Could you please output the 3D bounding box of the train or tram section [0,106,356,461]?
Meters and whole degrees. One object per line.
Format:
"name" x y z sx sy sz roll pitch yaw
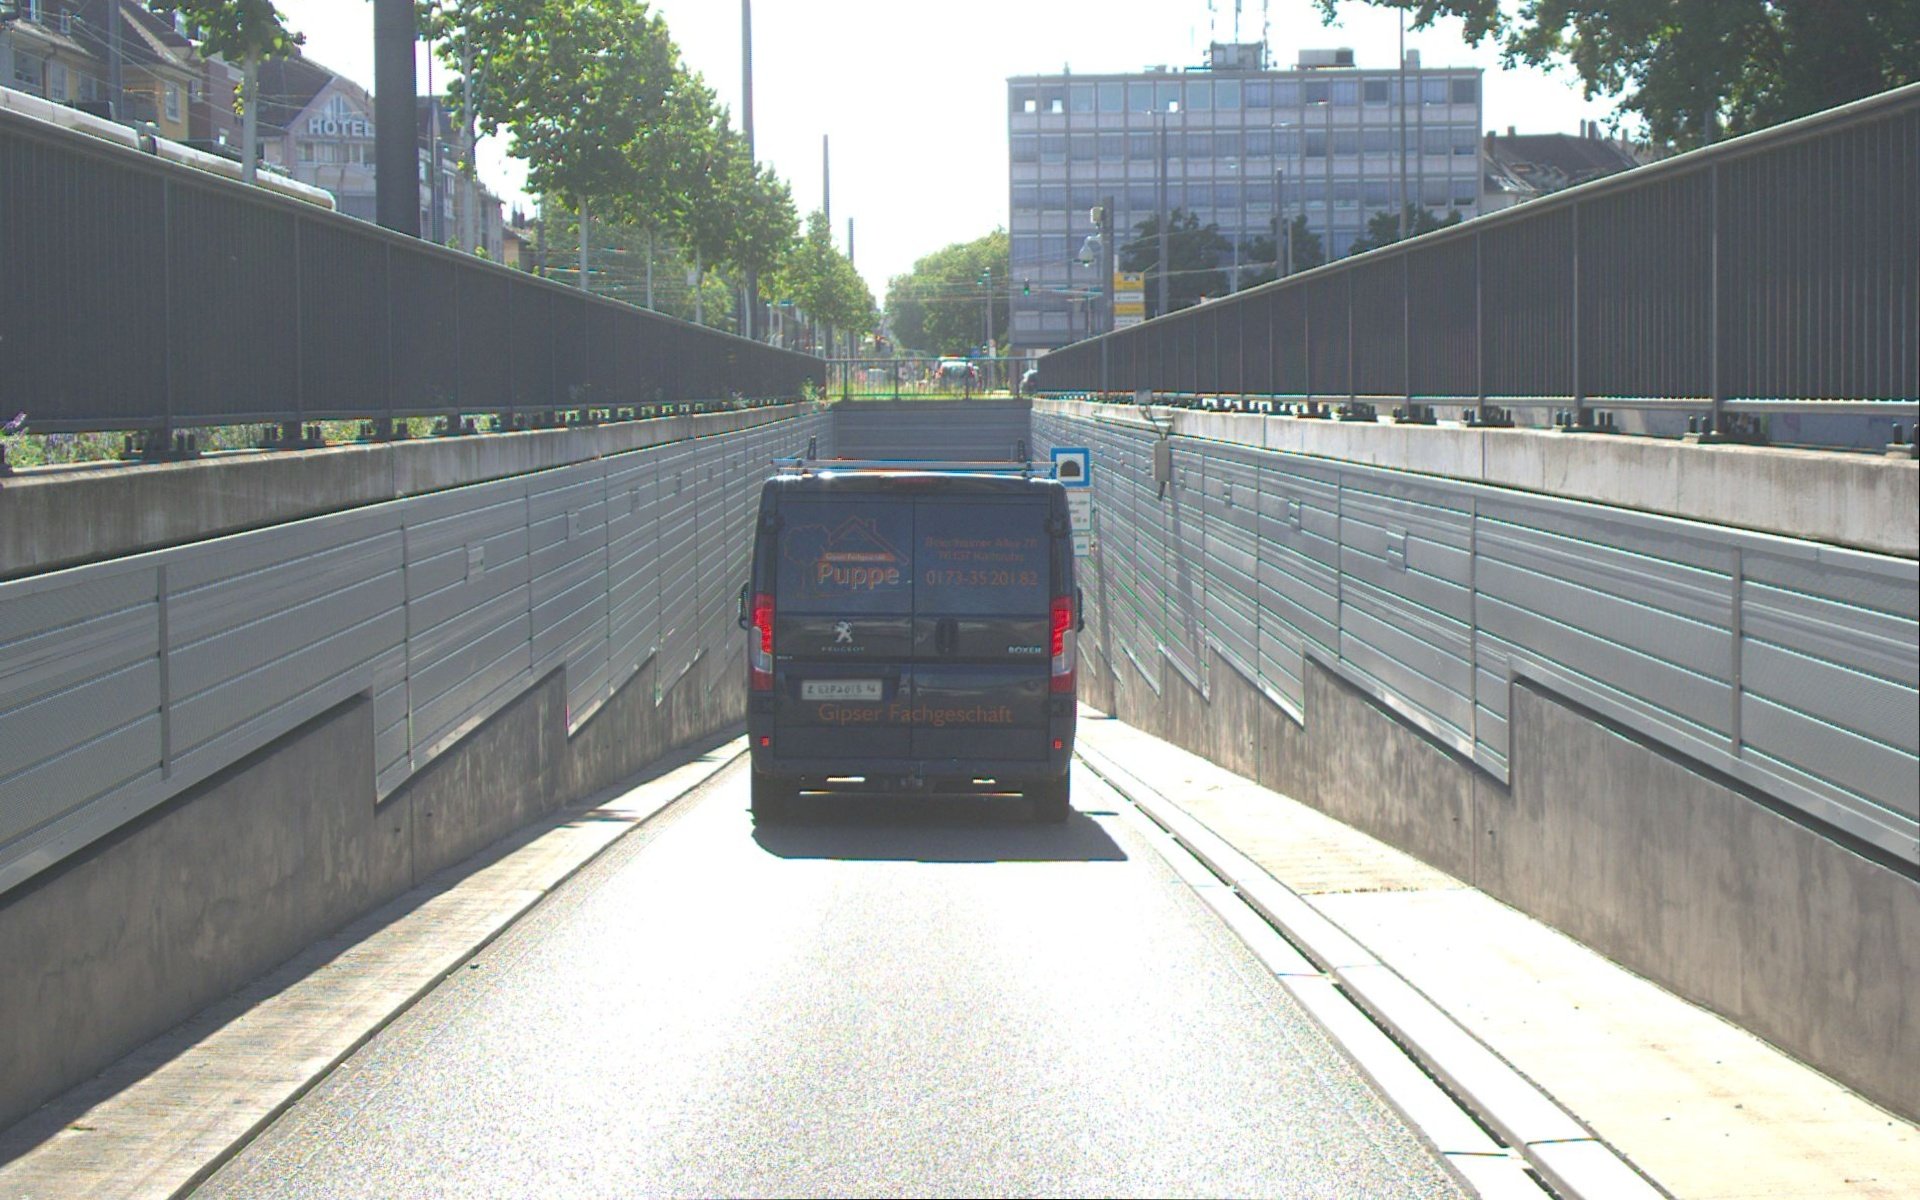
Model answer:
"train or tram section" -9.644 -3.739 42.704 2.612 3.840 9.973 1 3 -1

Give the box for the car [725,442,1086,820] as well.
"car" -0.320 0.209 23.064 2.158 2.258 4.636 1 -1 0

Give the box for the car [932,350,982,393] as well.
"car" -0.138 -8.526 128.498 1.740 1.556 4.001 0 4 -2

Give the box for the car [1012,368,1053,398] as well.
"car" 3.448 -10.273 162.981 1.740 1.416 4.001 0 4 -2

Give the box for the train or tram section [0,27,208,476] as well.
"train or tram section" -9.503 -3.083 31.174 2.610 3.807 13.093 1 3 -1

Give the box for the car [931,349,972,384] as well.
"car" -0.401 -10.619 156.312 1.740 1.556 4.001 0 4 -2
